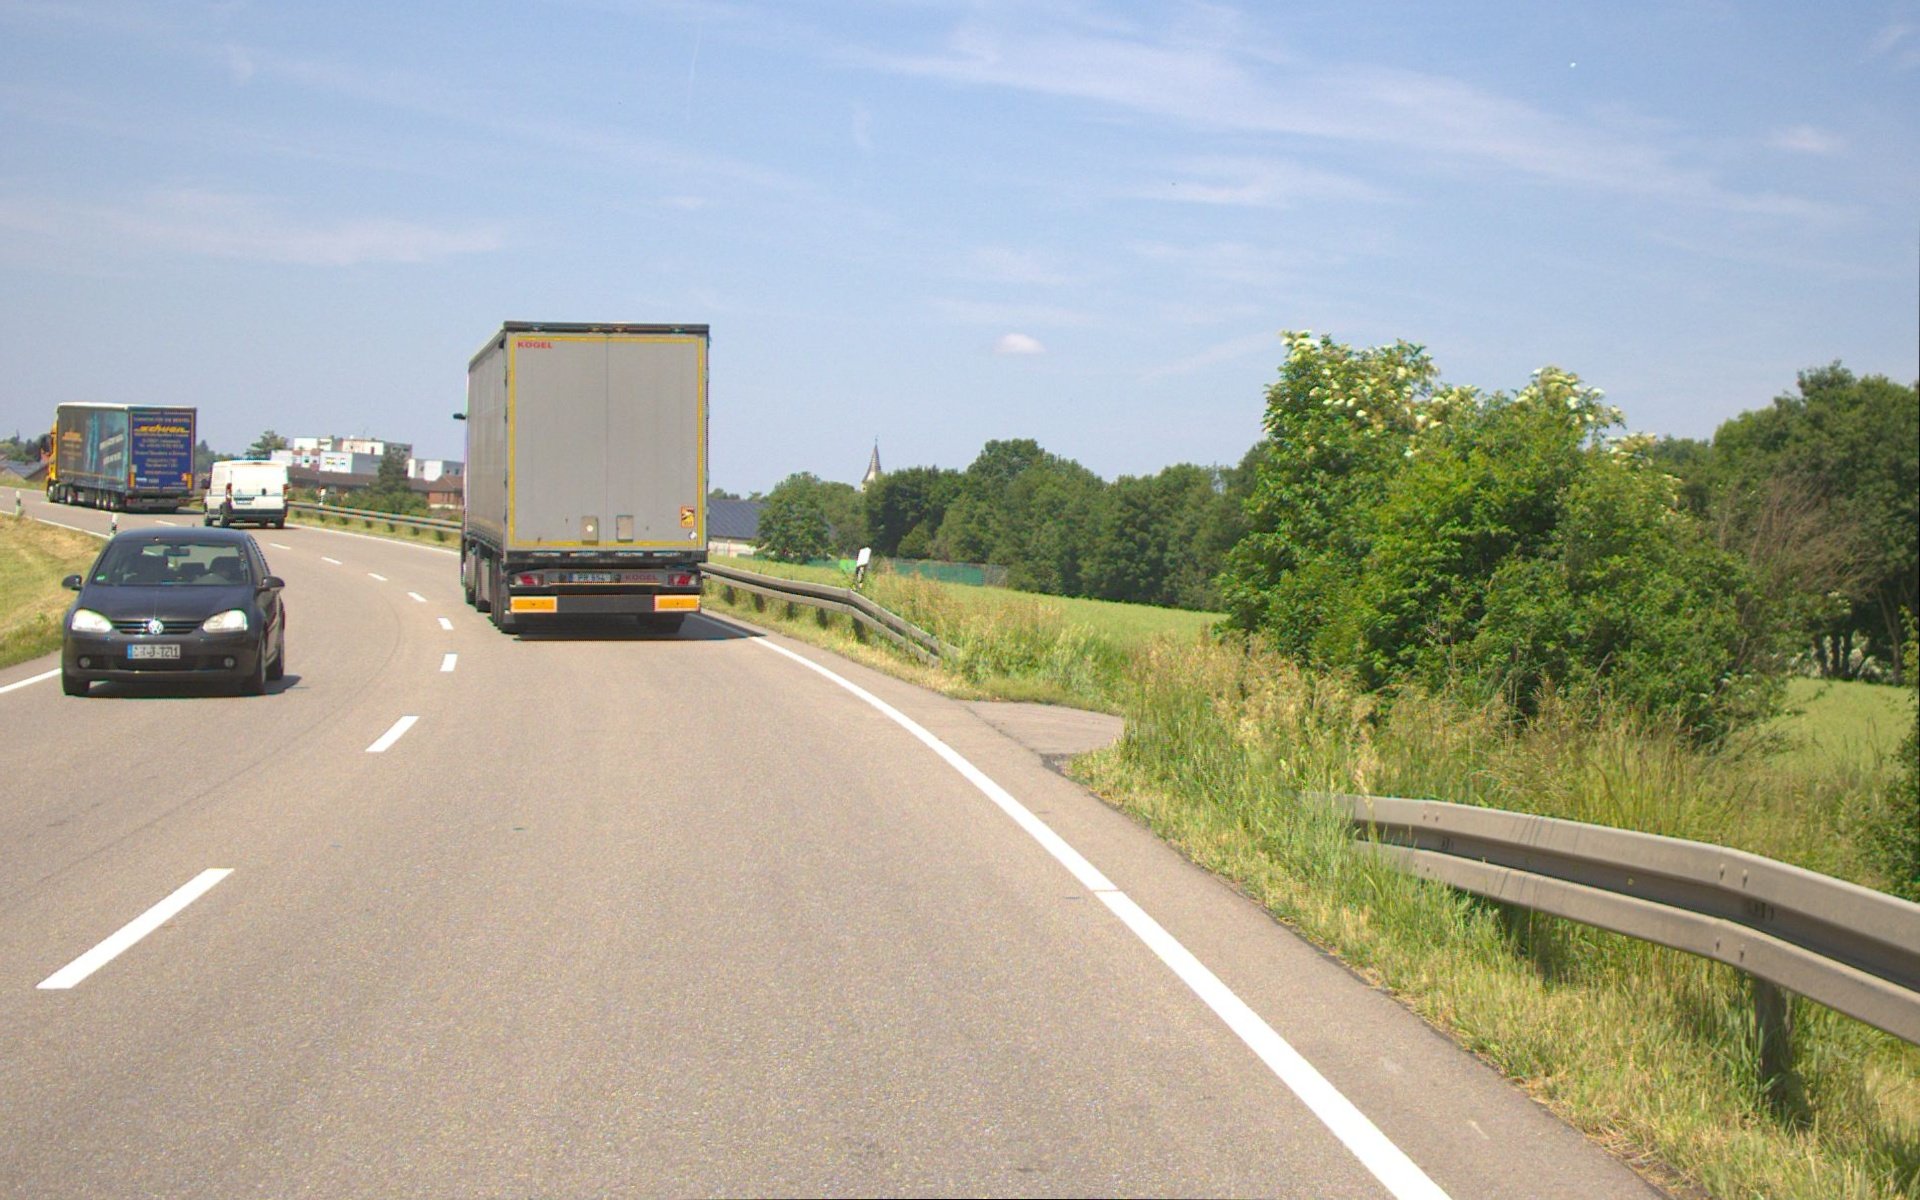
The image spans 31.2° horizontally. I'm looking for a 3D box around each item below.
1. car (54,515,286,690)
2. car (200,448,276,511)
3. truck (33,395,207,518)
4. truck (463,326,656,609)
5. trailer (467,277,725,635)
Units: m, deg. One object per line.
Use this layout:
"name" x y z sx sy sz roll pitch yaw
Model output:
"car" -7.253 -0.034 31.878 1.699 1.464 4.201 -1 2 -8
"car" -23.801 -3.961 113.212 1.725 1.866 4.001 1 -1 -22
"truck" -33.338 -5.699 135.641 3.548 4.377 18.127 2 2 -23
"truck" -6.619 -2.107 56.244 2.858 4.385 5.072 0 1 -9
"trailer" -5.447 -1.946 49.144 2.866 4.385 13.497 0 1 -9
